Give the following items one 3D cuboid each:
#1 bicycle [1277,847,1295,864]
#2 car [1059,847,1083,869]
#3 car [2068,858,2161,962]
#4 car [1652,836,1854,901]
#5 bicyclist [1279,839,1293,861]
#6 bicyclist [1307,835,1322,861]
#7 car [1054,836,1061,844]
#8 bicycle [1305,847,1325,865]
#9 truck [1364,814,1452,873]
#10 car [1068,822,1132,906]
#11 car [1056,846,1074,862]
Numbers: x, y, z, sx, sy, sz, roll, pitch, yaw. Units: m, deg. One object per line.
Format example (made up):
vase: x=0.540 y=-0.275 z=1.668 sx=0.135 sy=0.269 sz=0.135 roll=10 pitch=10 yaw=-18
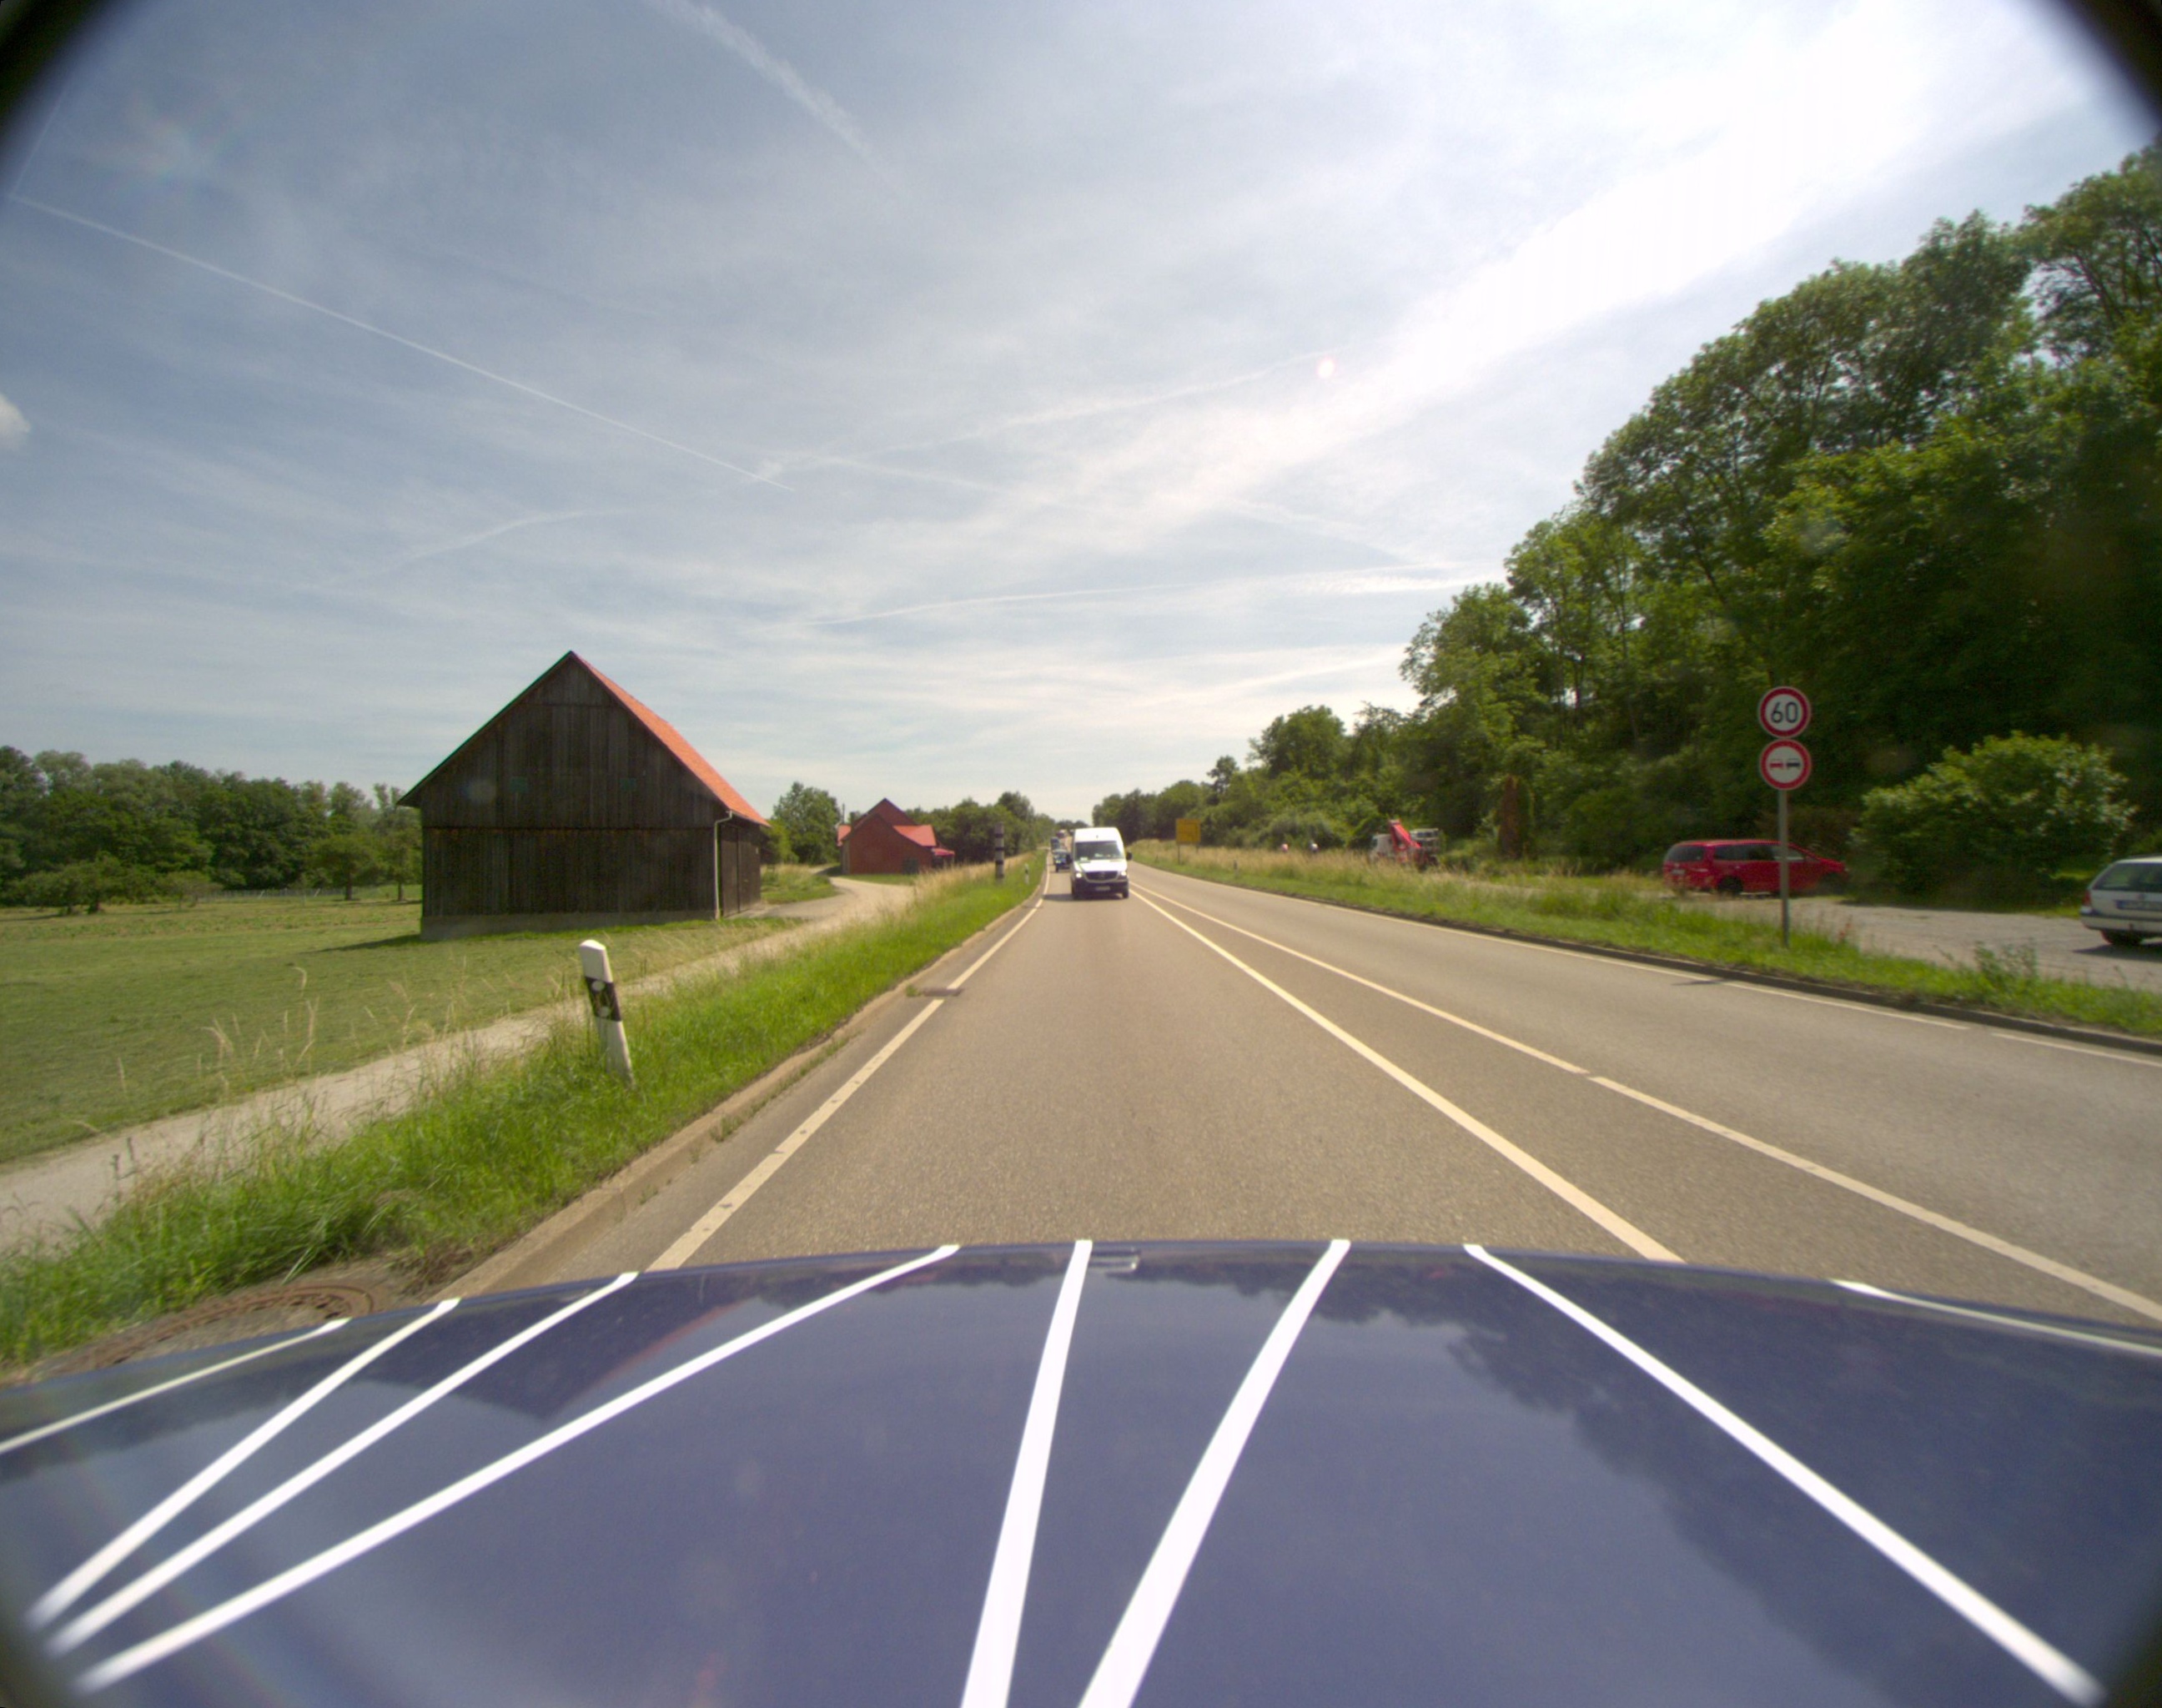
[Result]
bicycle: x=15.387 y=0.130 z=57.099 sx=0.750 sy=1.205 sz=2.104 roll=-3 pitch=1 yaw=1
car: x=-0.808 y=0.364 z=62.472 sx=1.848 sy=1.692 sz=4.244 roll=-1 pitch=-1 yaw=0
car: x=17.598 y=0.794 z=11.552 sx=3.387 sy=1.457 sz=1.609 roll=-2 pitch=1 yaw=-6
car: x=18.900 y=0.388 z=21.505 sx=4.037 sy=1.609 sz=1.833 roll=-2 pitch=1 yaw=1
bicyclist: x=15.363 y=-0.306 z=57.081 sx=0.750 sy=1.586 sz=0.936 roll=-3 pitch=1 yaw=1
bicyclist: x=16.237 y=-0.417 z=52.845 sx=0.750 sy=1.704 sz=0.936 roll=-3 pitch=1 yaw=3
car: x=-7.046 y=-4.282 z=229.337 sx=1.998 sy=2.166 sz=4.000 roll=-2 pitch=0 yaw=1
bicycle: x=16.265 y=0.156 z=52.873 sx=0.750 sy=1.174 sz=2.105 roll=-3 pitch=1 yaw=3
truck: x=18.074 y=-0.557 z=42.501 sx=2.031 sy=2.946 sz=6.773 roll=-3 pitch=1 yaw=1
car: x=0.639 y=0.302 z=27.637 sx=1.960 sy=2.656 sz=5.680 roll=-2 pitch=1 yaw=0
car: x=-1.840 y=-0.040 z=89.070 sx=1.848 sy=1.692 sz=4.242 roll=-1 pitch=1 yaw=2
